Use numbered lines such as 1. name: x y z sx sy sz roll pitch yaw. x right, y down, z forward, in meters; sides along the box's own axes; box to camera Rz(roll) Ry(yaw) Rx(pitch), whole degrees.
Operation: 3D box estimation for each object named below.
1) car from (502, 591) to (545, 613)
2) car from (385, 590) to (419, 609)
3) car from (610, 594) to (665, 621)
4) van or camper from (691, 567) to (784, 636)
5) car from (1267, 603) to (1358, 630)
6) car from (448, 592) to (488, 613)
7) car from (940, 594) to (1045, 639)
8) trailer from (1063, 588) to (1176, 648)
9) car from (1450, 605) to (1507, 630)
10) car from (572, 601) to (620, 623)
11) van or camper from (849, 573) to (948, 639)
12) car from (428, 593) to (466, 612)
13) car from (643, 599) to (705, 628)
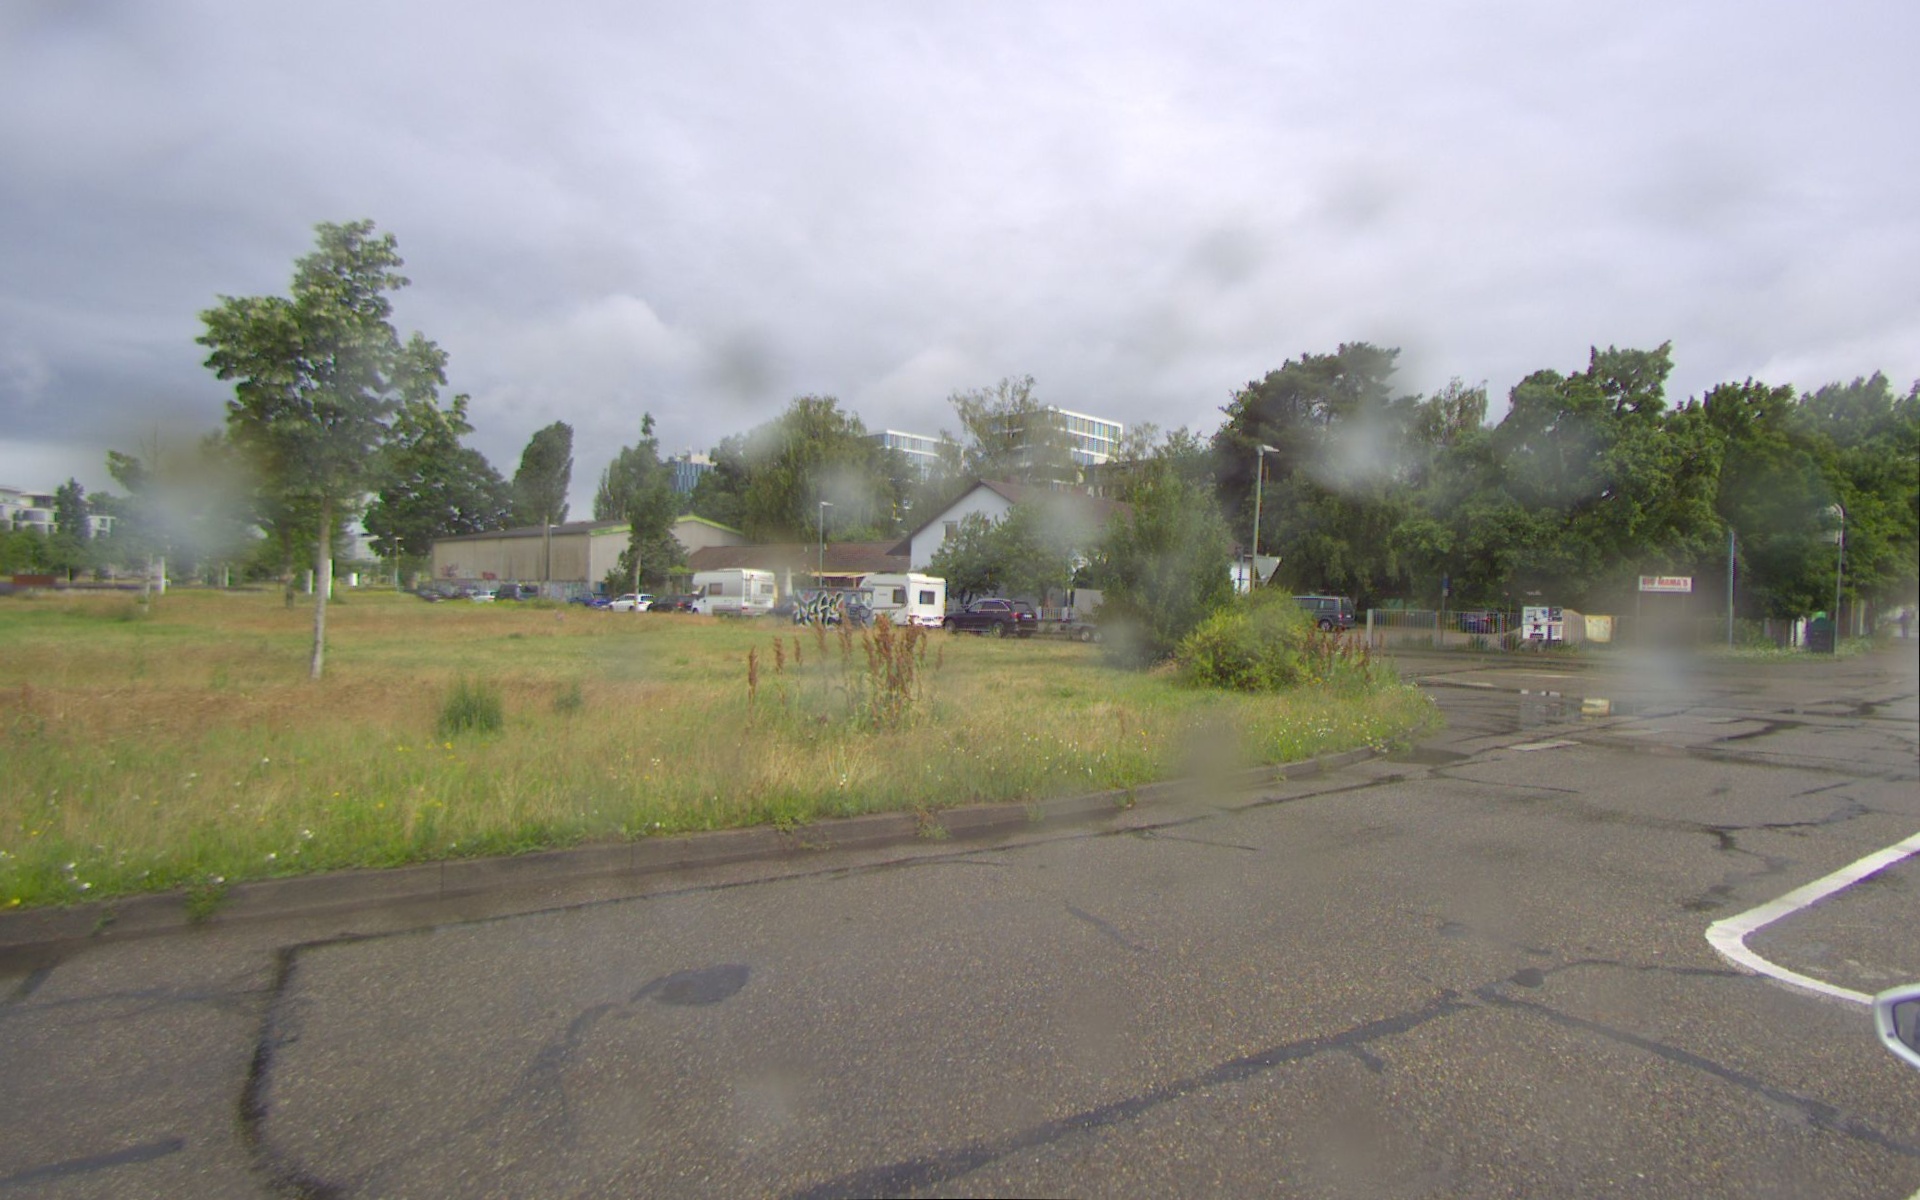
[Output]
1. car: -34.432 0.154 79.254 3.943 1.662 1.641 1 0 42
2. car: -53.565 -0.016 96.401 1.987 1.729 3.948 1 0 -44
3. car: -21.154 0.480 65.814 1.869 1.726 3.948 1 0 -44
4. van or camper: -12.927 0.065 58.054 2.636 3.794 5.775 1 0 -43
5. car: 19.840 0.913 56.639 1.986 1.437 4.486 1 0 -43
6. car: -42.206 0.216 86.112 1.987 1.751 3.948 1 0 -44
7. car: 1.376 0.702 43.688 1.986 1.799 4.461 1 0 -43
8. trailer: 6.270 0.654 39.707 4.057 2.117 1.833 3 2 44
9. car: 31.300 1.049 60.552 1.972 1.437 4.519 1 0 42
10. car: -25.434 0.830 70.127 1.634 1.417 3.948 1 0 -44
11. van or camper: -2.993 0.262 48.171 2.467 2.985 4.457 1 0 -43
12. car: -45.832 0.192 89.758 1.987 1.573 3.948 1 0 -44
13. car: -17.795 0.818 62.455 3.945 1.706 1.988 1 0 45
